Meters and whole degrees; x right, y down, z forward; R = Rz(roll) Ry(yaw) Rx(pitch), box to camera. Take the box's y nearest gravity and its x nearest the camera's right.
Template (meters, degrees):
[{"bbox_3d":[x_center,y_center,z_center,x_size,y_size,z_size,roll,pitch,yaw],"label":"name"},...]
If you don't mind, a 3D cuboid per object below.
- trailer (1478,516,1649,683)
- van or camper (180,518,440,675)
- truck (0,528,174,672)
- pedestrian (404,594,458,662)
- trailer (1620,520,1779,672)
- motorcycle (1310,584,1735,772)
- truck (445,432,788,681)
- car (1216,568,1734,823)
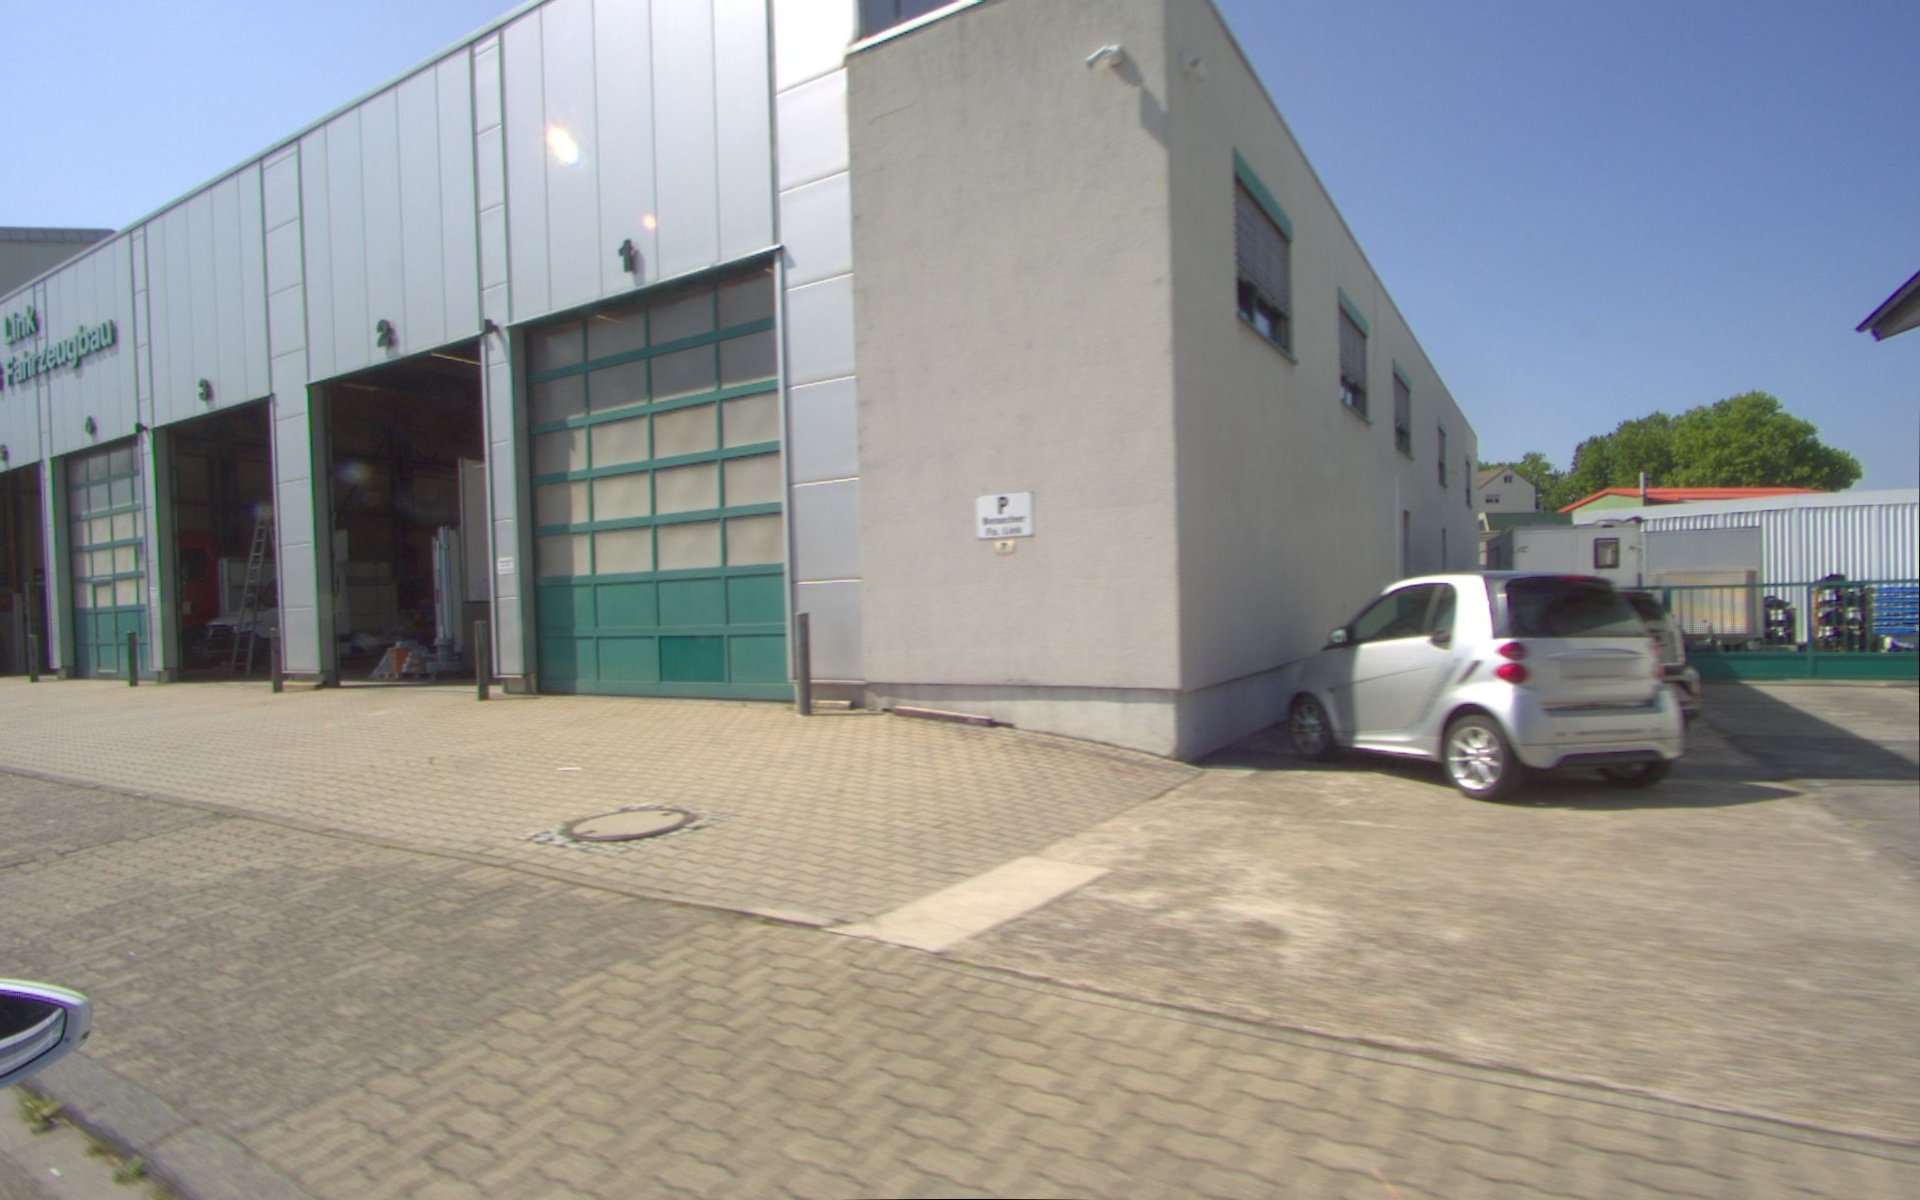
[{"bbox_3d":[11.678,-0.007,19.693,2.011,2.912,4.129,0,1,19],"label":"trailer"},{"bbox_3d":[-15.220,-0.049,23.773,1.970,3.332,4.750,-1,0,28],"label":"van or camper"},{"bbox_3d":[-25.964,0.025,26.603,2.724,3.696,7.351,-1,3,26],"label":"truck"},{"bbox_3d":[-13.074,0.680,24.758,0.852,1.642,0.810,-1,0,30],"label":"pedestrian"},{"bbox_3d":[15.656,-0.085,21.459,2.015,2.912,4.122,0,1,26],"label":"trailer"},{"bbox_3d":[5.466,0.658,10.285,1.747,1.512,3.603,-2,0,-16],"label":"motorcycle"},{"bbox_3d":[-6.037,-0.646,18.303,2.741,3.798,5.283,-1,0,35],"label":"truck"},{"bbox_3d":[3.872,0.607,8.290,1.747,1.560,3.696,-2,0,-16],"label":"car"}]
